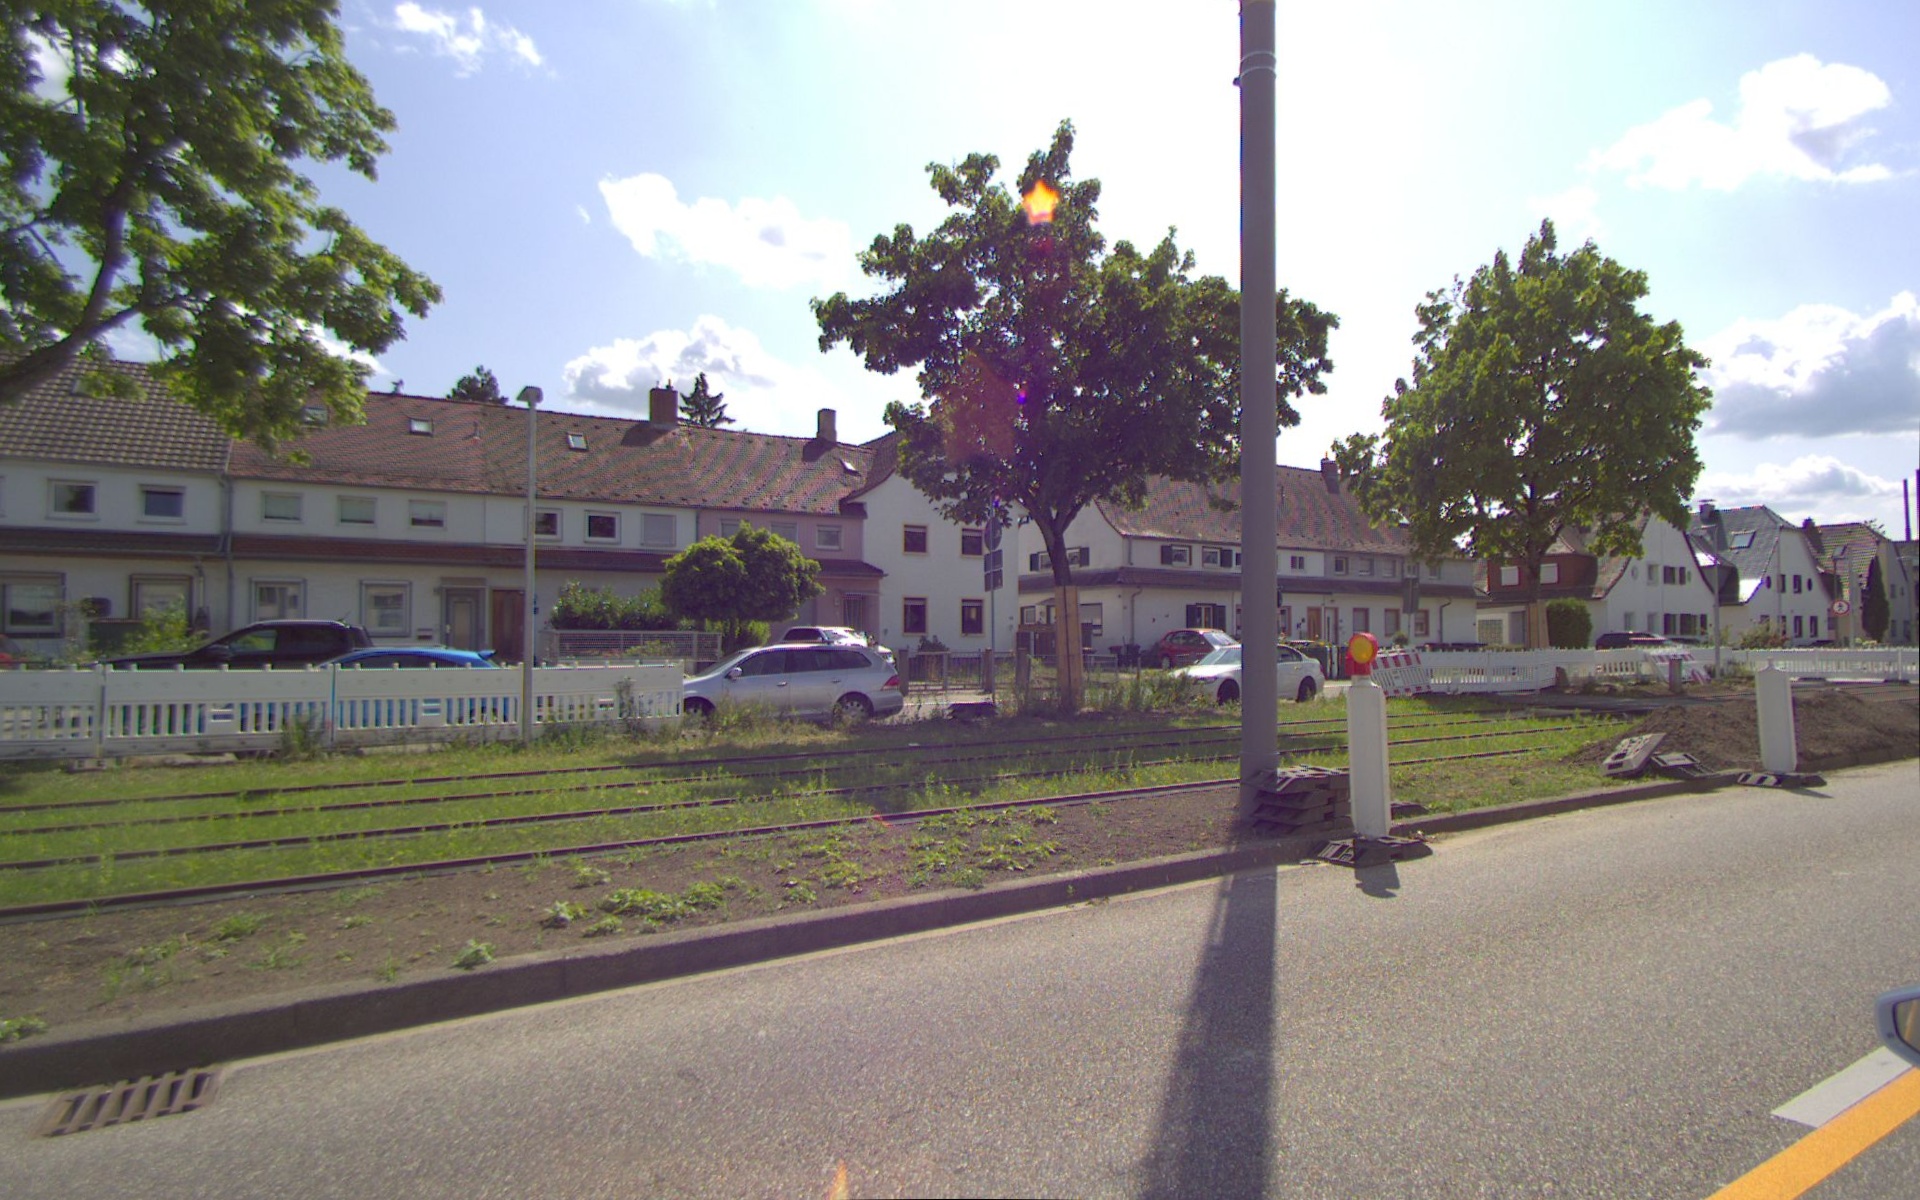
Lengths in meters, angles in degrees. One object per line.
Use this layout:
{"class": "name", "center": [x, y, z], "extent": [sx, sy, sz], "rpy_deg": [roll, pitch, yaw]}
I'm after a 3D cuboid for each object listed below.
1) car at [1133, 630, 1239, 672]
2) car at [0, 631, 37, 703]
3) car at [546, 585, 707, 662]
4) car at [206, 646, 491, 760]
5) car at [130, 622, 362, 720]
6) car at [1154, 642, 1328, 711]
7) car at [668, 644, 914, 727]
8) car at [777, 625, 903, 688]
{"class": "car", "center": [8.600, 1.942, 38.524], "extent": [1.706, 1.529, 3.966], "rpy_deg": [1, -3, -31]}
{"class": "car", "center": [-20.175, 1.370, 20.469], "extent": [1.269, 1.397, 2.796], "rpy_deg": [2, -1, -27]}
{"class": "car", "center": [-9.403, 0.673, 28.352], "extent": [3.955, 2.040, 1.983], "rpy_deg": [2, -1, -32]}
{"class": "car", "center": [-8.141, 1.308, 13.564], "extent": [3.136, 1.342, 1.332], "rpy_deg": [1, -2, -33]}
{"class": "car", "center": [-11.884, 1.143, 16.950], "extent": [3.058, 1.515, 1.349], "rpy_deg": [1, -2, -31]}
{"class": "car", "center": [6.406, 1.661, 22.686], "extent": [4.212, 1.395, 1.530], "rpy_deg": [1, -3, -37]}
{"class": "car", "center": [-2.725, 1.335, 16.412], "extent": [3.705, 1.192, 1.495], "rpy_deg": [1, -2, -31]}
{"class": "car", "center": [-3.806, 1.692, 31.218], "extent": [1.785, 1.708, 4.369], "rpy_deg": [2, -1, -40]}
